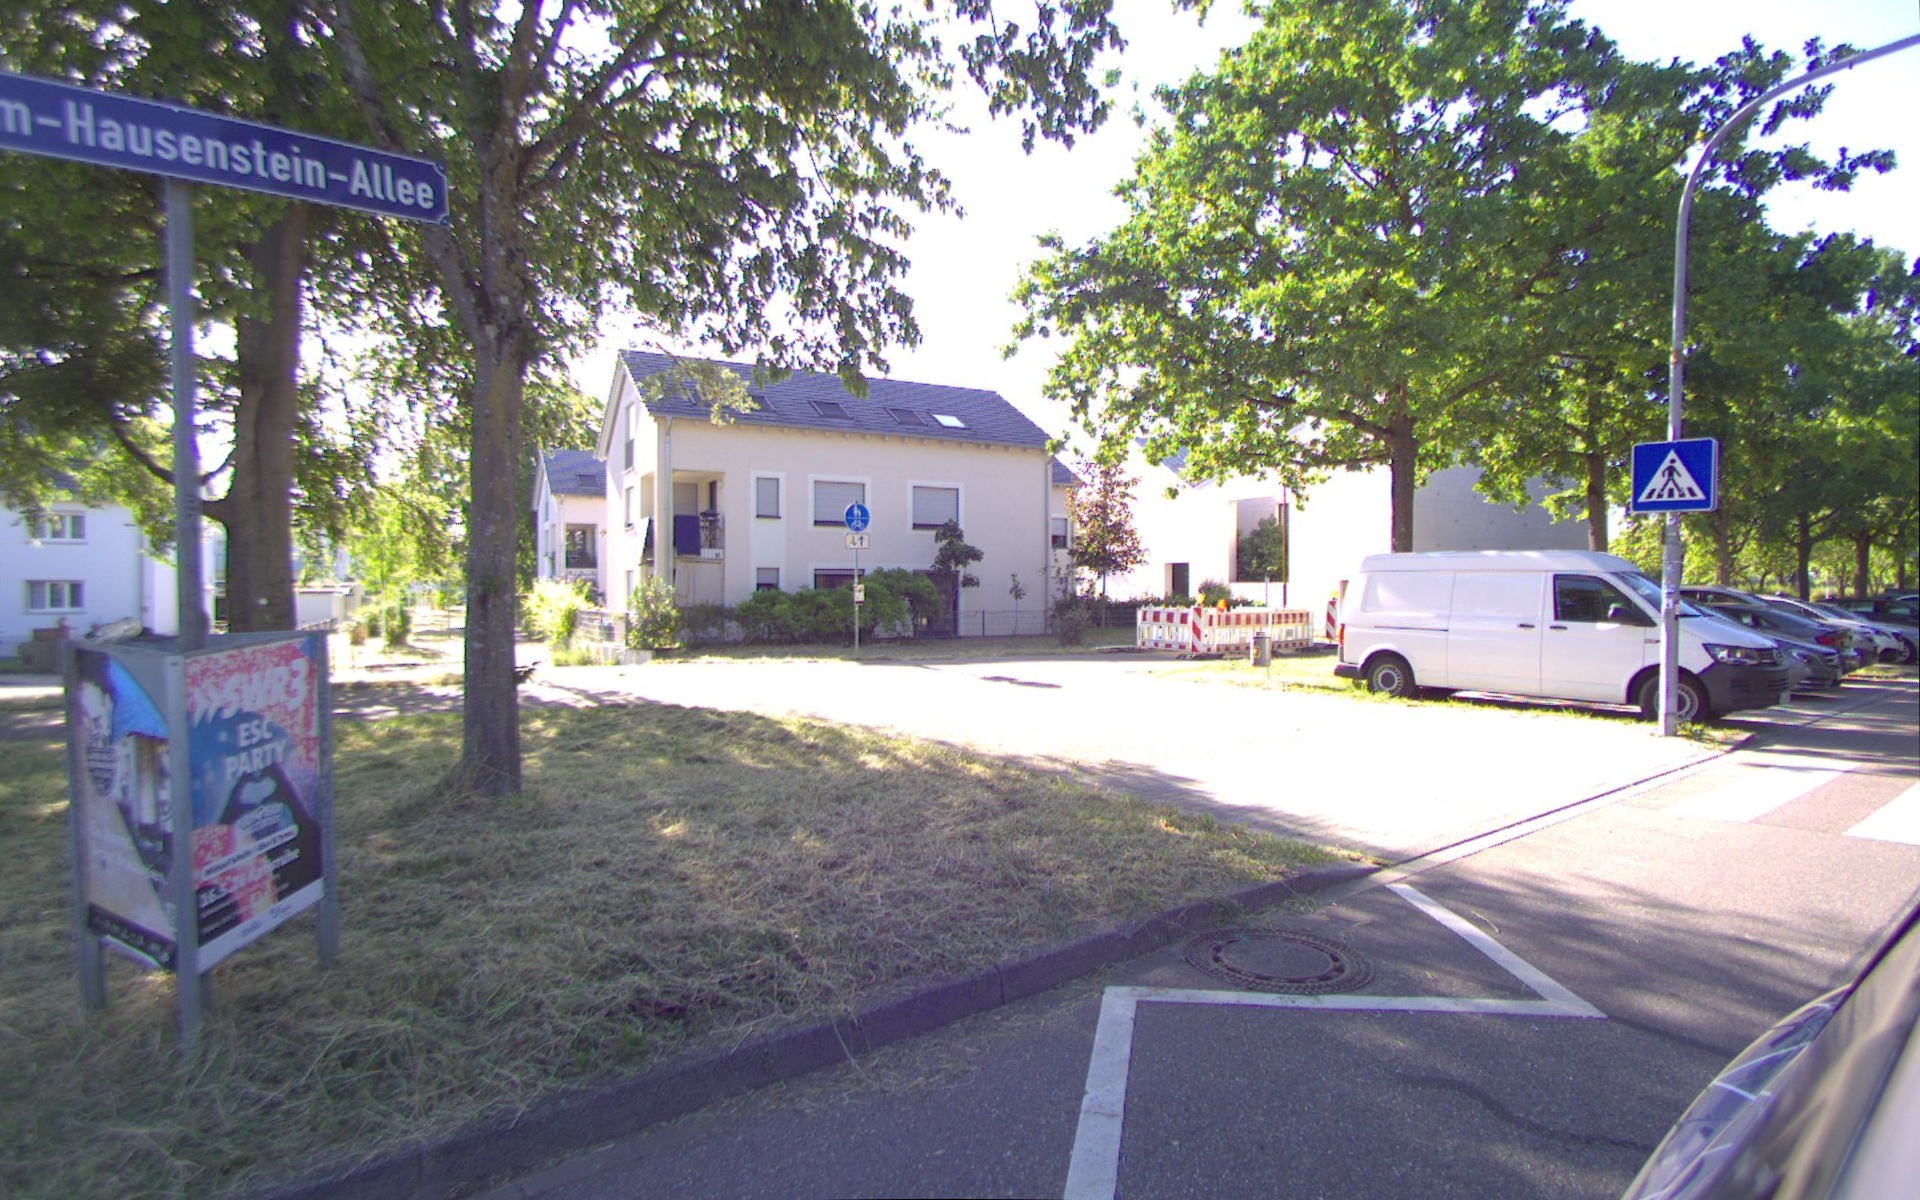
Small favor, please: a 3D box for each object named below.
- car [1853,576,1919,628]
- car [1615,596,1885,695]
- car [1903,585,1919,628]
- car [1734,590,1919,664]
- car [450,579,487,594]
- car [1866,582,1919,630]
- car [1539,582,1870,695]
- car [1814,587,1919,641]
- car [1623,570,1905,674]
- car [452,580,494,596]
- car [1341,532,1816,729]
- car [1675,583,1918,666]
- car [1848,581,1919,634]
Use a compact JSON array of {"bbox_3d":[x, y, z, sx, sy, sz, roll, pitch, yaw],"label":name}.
[{"bbox_3d":[37.823,0.062,39.393,1.504,2.013,4.396,0,0,-37],"label":"car"},{"bbox_3d":[13.864,0.733,17.920,1.421,1.561,3.517,0,0,-37],"label":"car"},{"bbox_3d":[41.353,0.266,41.020,1.504,1.765,4.396,0,0,-37],"label":"car"},{"bbox_3d":[21.396,0.610,24.447,1.504,1.681,4.020,0,0,-37],"label":"car"},{"bbox_3d":[-68.169,-1.876,140.383,4.524,2.039,2.003,0,0,-24],"label":"car"},{"bbox_3d":[36.128,0.222,36.889,1.504,1.765,4.396,0,0,-37],"label":"car"},{"bbox_3d":[11.887,0.547,16.397,1.725,1.583,3.998,0,0,-37],"label":"car"},{"bbox_3d":[30.259,0.440,32.286,1.504,1.662,4.396,0,0,-37],"label":"car"},{"bbox_3d":[15.573,0.396,19.798,1.681,1.816,4.020,0,0,-37],"label":"car"},{"bbox_3d":[-62.516,-1.484,130.037,4.543,2.039,1.995,0,0,-43],"label":"car"},{"bbox_3d":[7.868,0.277,13.401,1.857,2.107,5.045,0,1,-39],"label":"car"},{"bbox_3d":[18.832,0.508,22.952,1.504,1.700,4.020,0,0,-37],"label":"car"},{"bbox_3d":[32.845,0.258,33.942,1.504,1.765,4.396,0,0,-37],"label":"car"}]
